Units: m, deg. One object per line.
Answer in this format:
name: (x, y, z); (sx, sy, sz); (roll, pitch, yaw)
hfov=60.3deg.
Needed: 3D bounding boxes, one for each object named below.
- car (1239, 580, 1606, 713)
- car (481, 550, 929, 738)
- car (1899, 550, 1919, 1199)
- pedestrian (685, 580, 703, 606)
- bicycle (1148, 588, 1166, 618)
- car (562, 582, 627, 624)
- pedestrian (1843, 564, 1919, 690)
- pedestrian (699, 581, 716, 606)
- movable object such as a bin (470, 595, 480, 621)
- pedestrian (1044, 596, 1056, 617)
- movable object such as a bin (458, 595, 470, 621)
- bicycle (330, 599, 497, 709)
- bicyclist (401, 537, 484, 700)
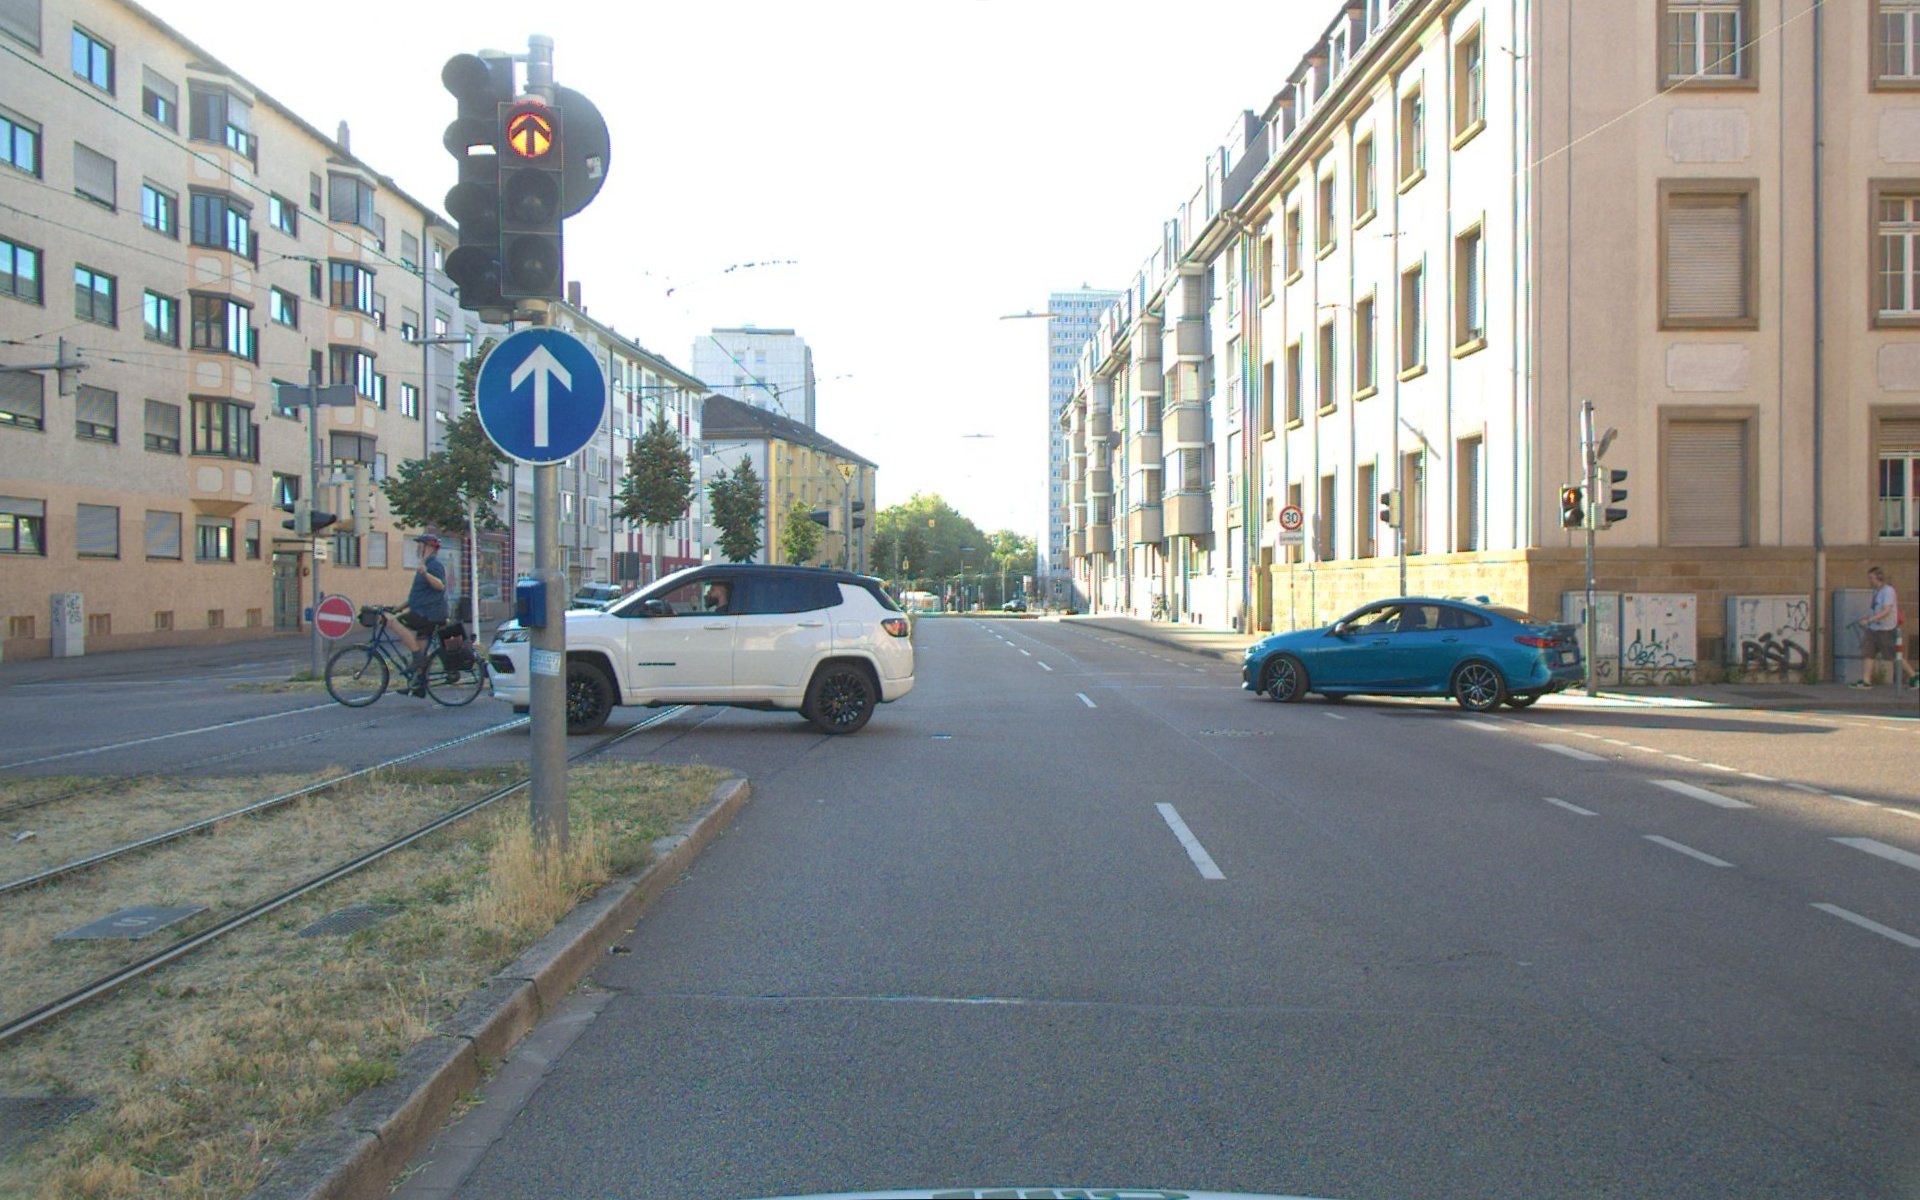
car: (6.101, 0.561, 21.984); (4.303, 1.581, 1.993); (1, 0, 35)
car: (-2.618, 0.399, 17.079); (4.302, 1.765, 1.994); (-1, 0, -13)
car: (2.866, 0.722, 1.415); (1.663, 1.580, 4.225); (1, 0, -1)
pedestrian: (-17.970, -0.448, 111.646); (0.942, 1.723, 1.011); (1, 0, 4)
bicycle: (7.397, 0.125, 62.107); (0.376, 1.115, 1.503); (-1, 0, -3)
car: (-17.936, 0.153, 81.312); (1.952, 1.958, 4.543); (1, 0, 3)
pedestrian: (13.454, 0.391, 24.016); (0.818, 1.793, 0.824); (1, -1, -1)
pedestrian: (-17.125, -0.421, 112.189); (0.942, 1.699, 1.011); (1, 0, 4)
movable object such as a bin: (-20.104, 0.323, 68.546); (0.292, 1.054, 0.441); (1, -1, -2)
pedestrian: (5.479, 0.409, 101.125); (0.677, 1.256, 0.736); (1, 0, 0)
movable object such as a bin: (-20.405, 0.328, 68.038); (0.292, 1.054, 0.441); (1, -1, 2)
bicycle: (-6.528, 0.640, 19.815); (1.829, 1.279, 0.456); (0, 1, -7)
bicyclist: (-6.195, 0.205, 19.820); (0.791, 1.915, 0.652); (-1, 1, -5)
